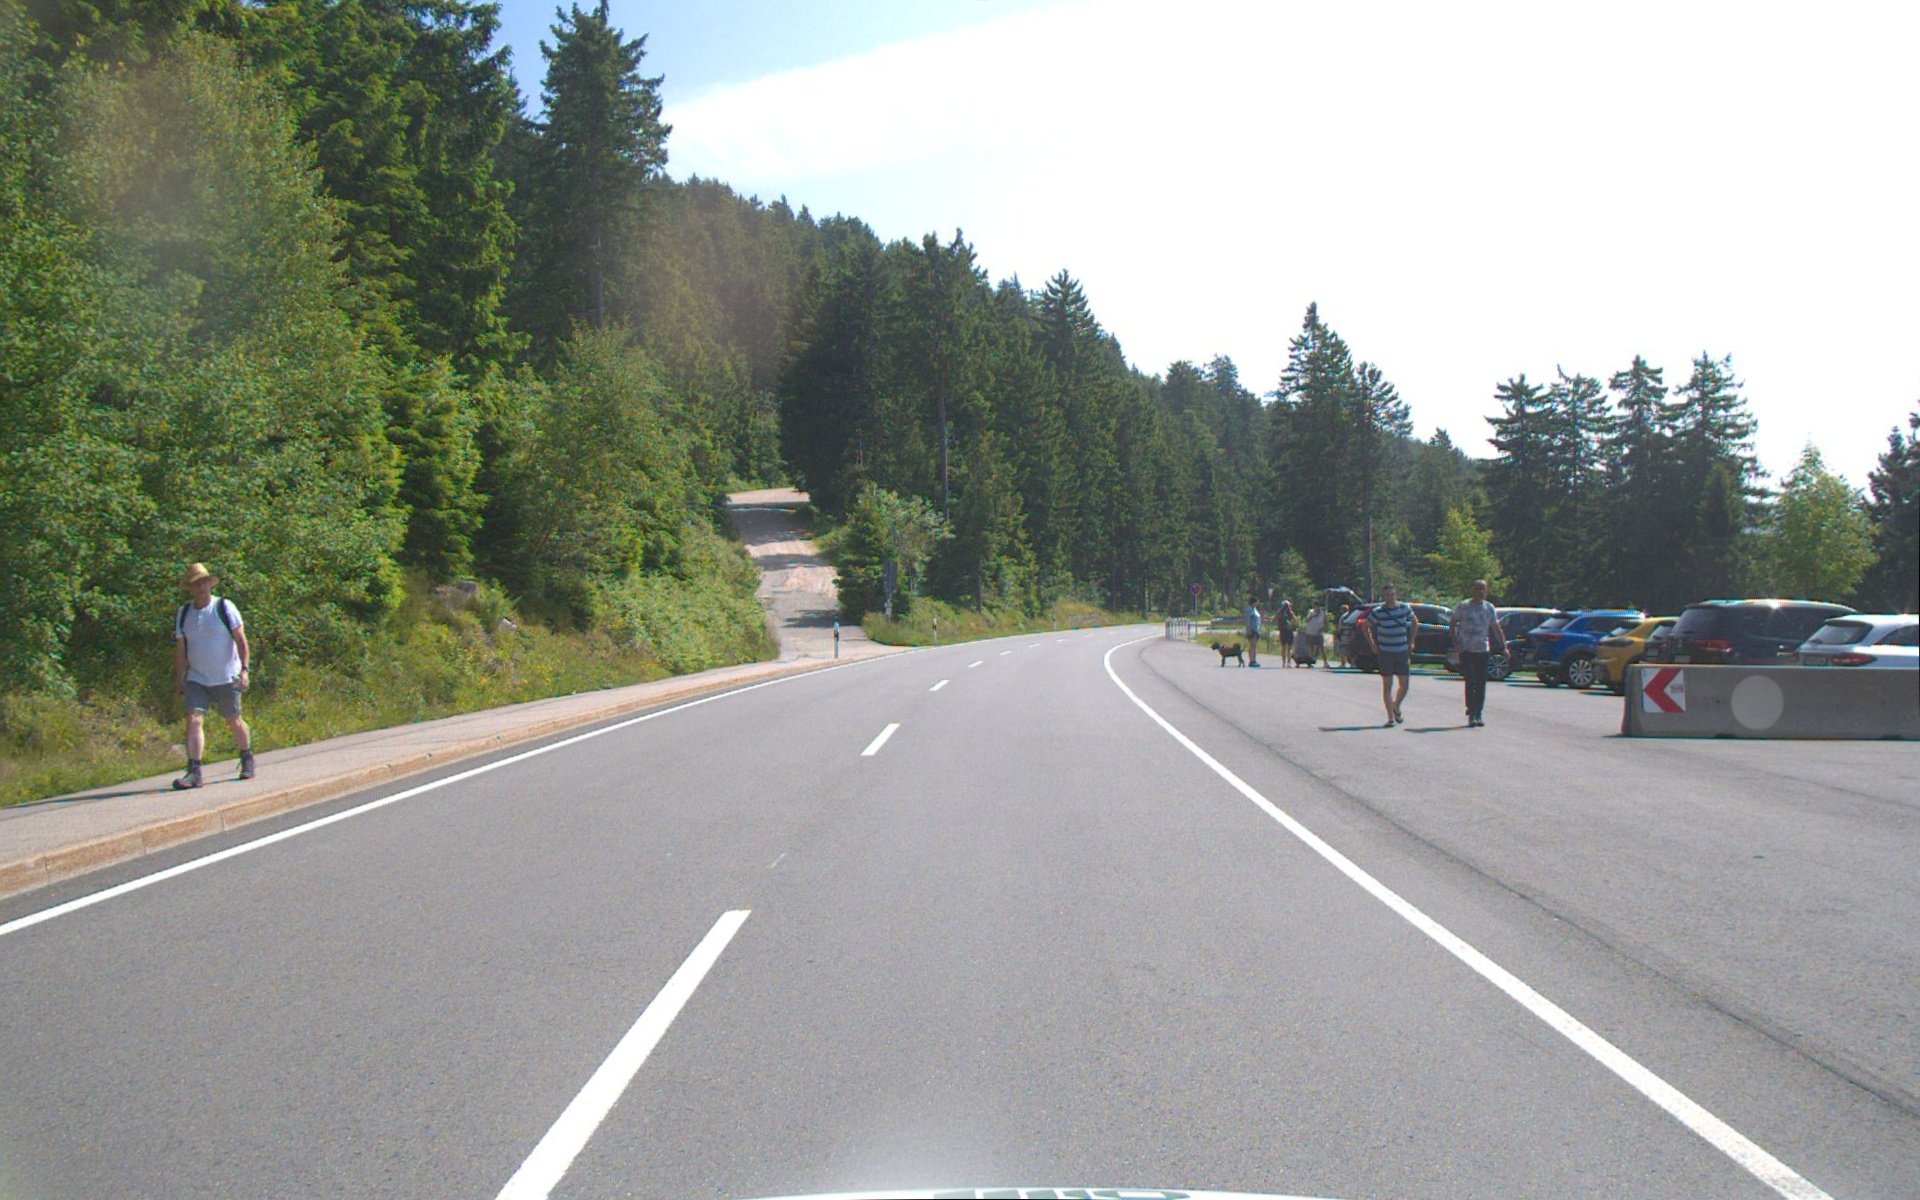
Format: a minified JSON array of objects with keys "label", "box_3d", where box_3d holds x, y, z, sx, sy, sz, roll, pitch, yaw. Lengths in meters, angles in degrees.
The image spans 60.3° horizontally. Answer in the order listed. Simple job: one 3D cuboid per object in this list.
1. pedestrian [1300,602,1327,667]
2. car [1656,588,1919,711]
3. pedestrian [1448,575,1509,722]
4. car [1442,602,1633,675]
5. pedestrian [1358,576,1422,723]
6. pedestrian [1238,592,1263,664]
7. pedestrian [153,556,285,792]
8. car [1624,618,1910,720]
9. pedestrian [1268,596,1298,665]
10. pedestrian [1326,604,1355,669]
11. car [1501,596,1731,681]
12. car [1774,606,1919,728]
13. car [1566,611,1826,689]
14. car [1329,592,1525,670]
[{"label":"pedestrian","box_3d":[9.292,0.905,43.506,0.638,1.689,0.688,-1,1,14]},{"label":"car","box_3d":[12.714,0.737,24.758,3.907,1.676,1.599,2,0,-3]},{"label":"pedestrian","box_3d":[6.404,0.581,20.459,0.650,1.771,0.895,-1,0,14]},{"label":"car","box_3d":[12.801,0.839,36.758,3.679,1.595,1.598,0,0,-5]},{"label":"pedestrian","box_3d":[5.340,0.598,20.550,0.737,1.791,0.776,-1,0,14]},{"label":"pedestrian","box_3d":[7.426,0.712,42.233,0.604,1.806,0.724,0,0,8]},{"label":"pedestrian","box_3d":[-5.746,0.557,12.863,0.668,1.777,0.825,0,0,-2]},{"label":"car","box_3d":[13.535,1.135,27.887,3.915,1.461,1.763,3,0,0]},{"label":"pedestrian","box_3d":[8.136,0.768,41.697,0.700,1.722,0.619,0,0,8]},{"label":"pedestrian","box_3d":[9.699,0.929,42.192,0.604,1.615,0.735,-1,1,20]},{"label":"car","box_3d":[13.218,0.755,33.481,3.907,1.562,1.806,0,3,-3]},{"label":"car","box_3d":[13.129,0.897,21.812,3.907,1.502,1.773,2,0,-2]},{"label":"car","box_3d":[13.478,0.893,30.454,3.906,1.376,1.986,0,0,-1]},{"label":"car","box_3d":[11.217,0.728,39.872,4.178,1.825,1.892,0,1,-2]}]
